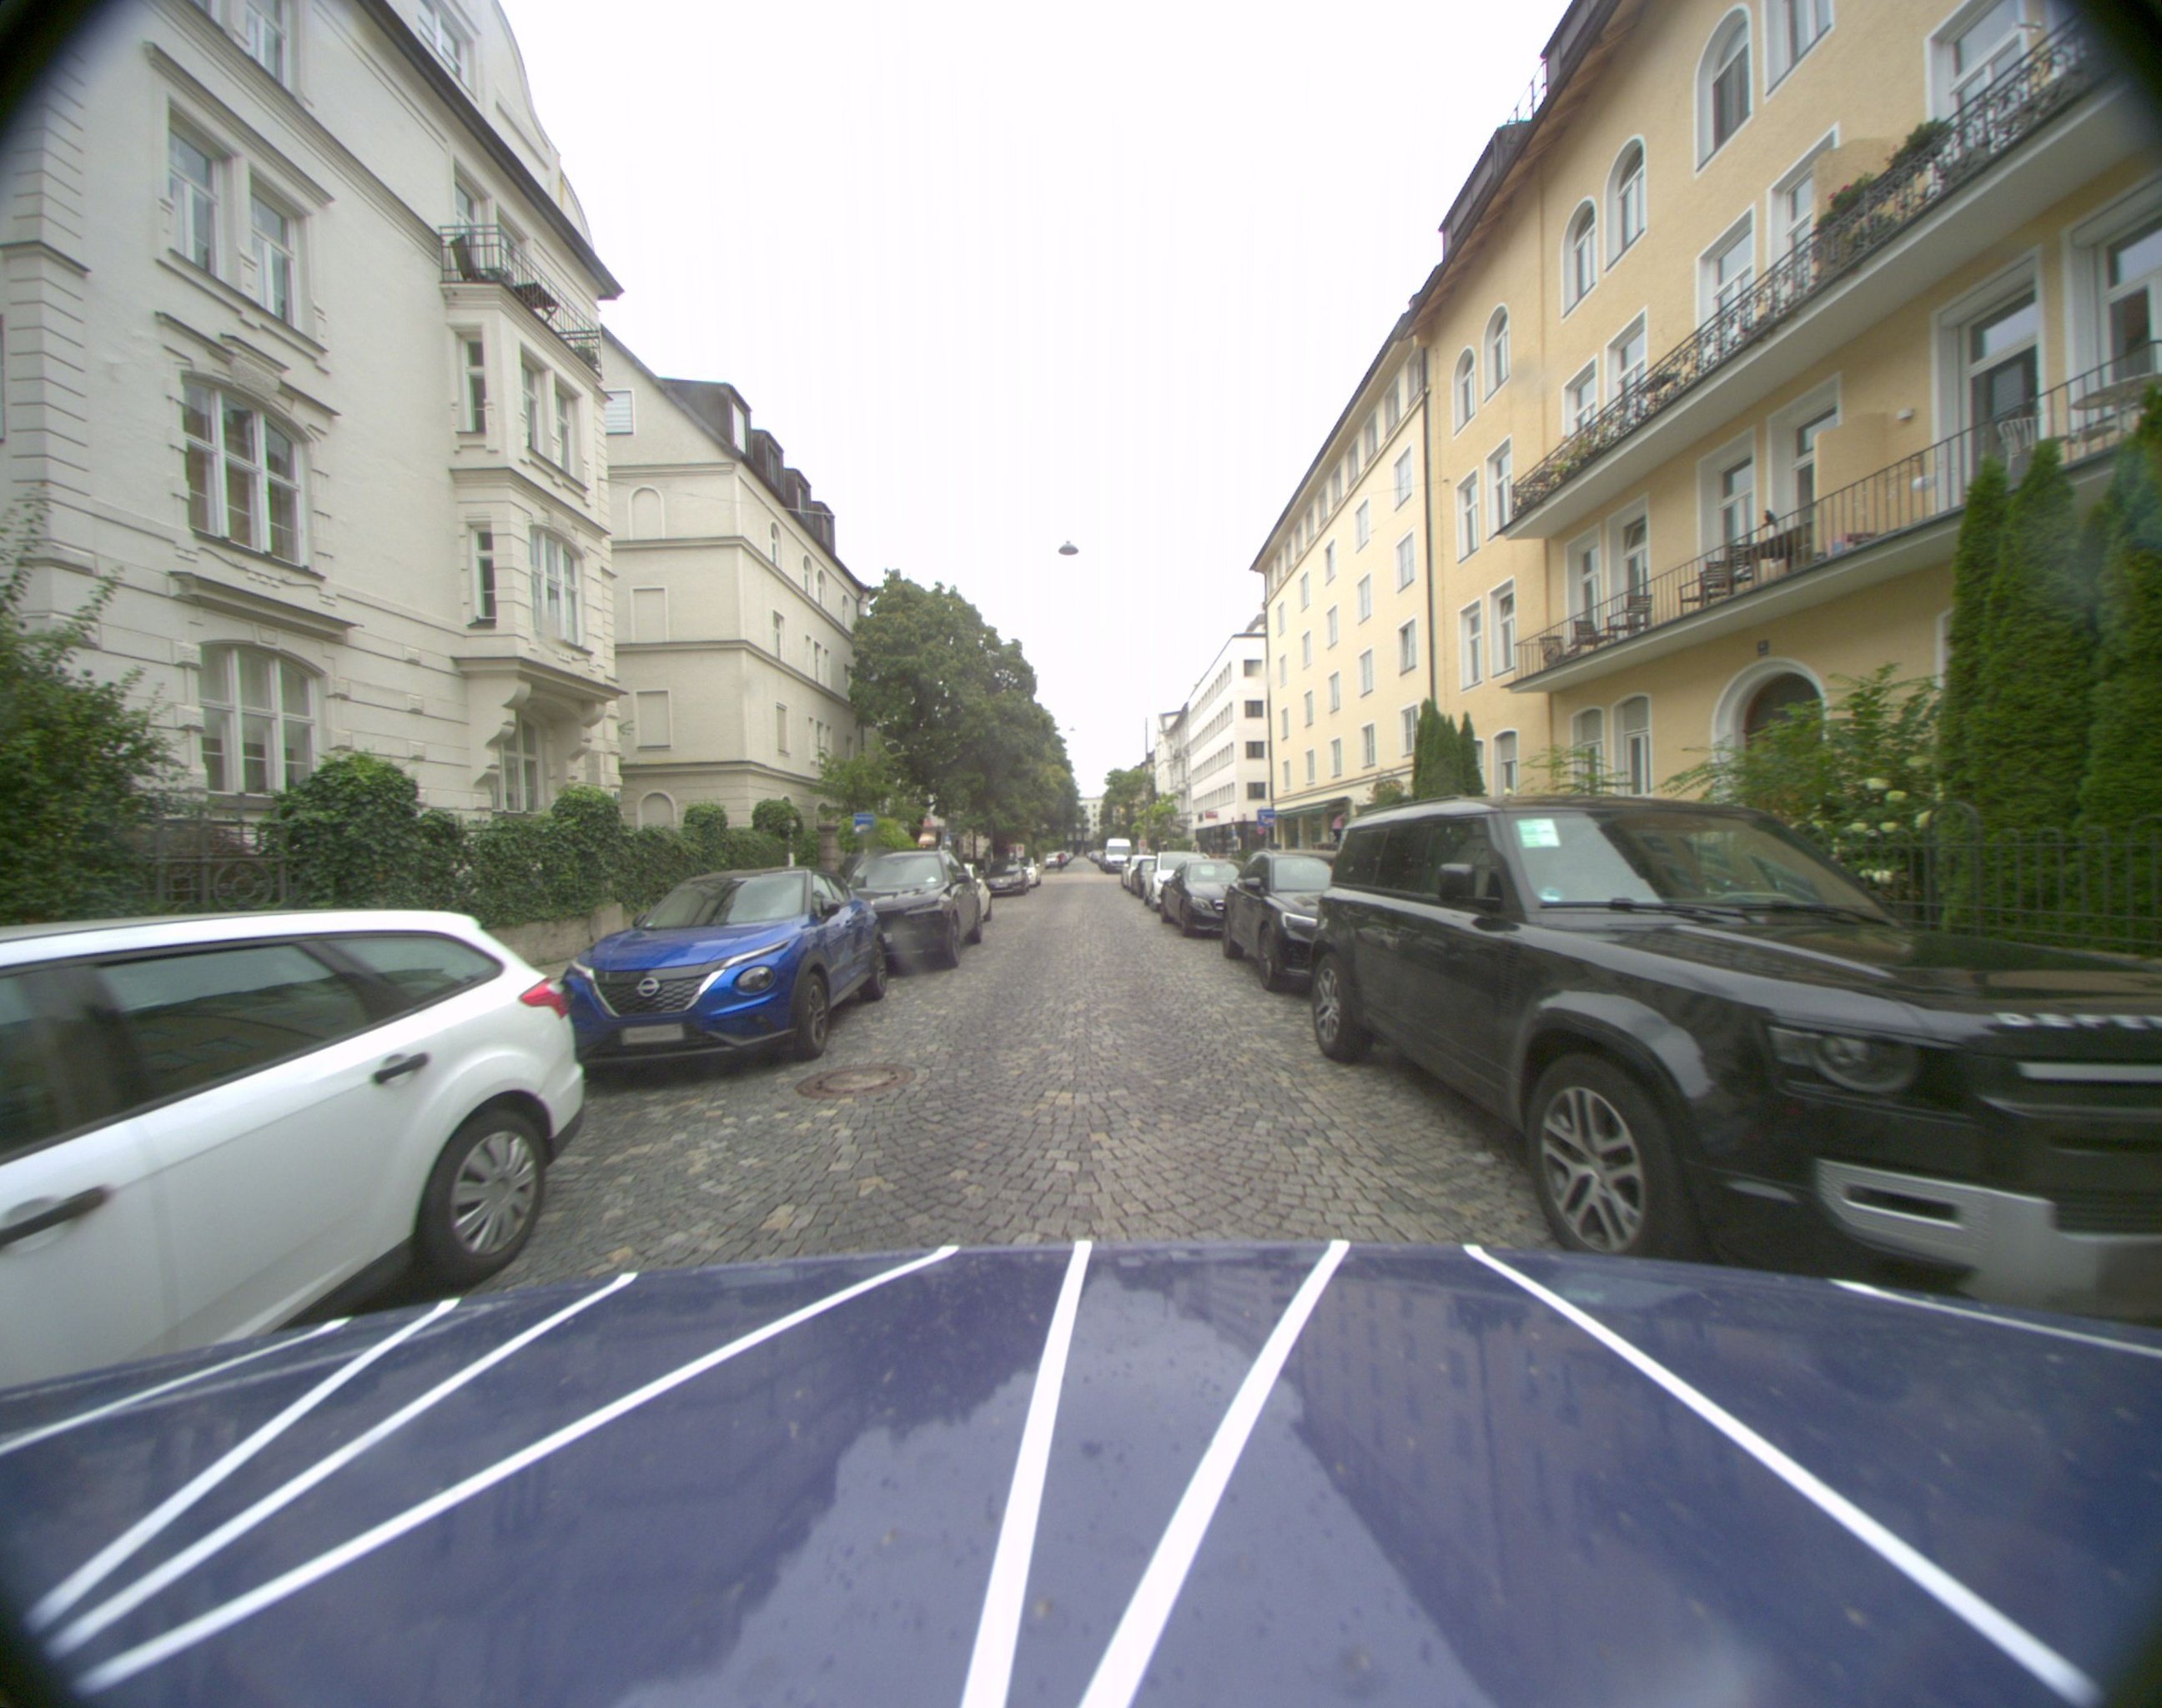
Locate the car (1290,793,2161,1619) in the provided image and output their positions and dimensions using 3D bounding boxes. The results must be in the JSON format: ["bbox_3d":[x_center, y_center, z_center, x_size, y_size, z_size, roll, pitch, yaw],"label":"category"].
[{"bbox_3d":[2.721,0.723,3.950,1.987,1.727,4.722,-2,0,1],"label":"car"}]

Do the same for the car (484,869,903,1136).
[{"bbox_3d":[-2.982,0.995,7.022,1.713,1.473,4.248,-4,1,-2],"label":"car"}]

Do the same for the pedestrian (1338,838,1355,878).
[{"bbox_3d":[11.189,0.157,32.041,0.462,1.680,0.574,-2,1,0],"label":"pedestrian"}]

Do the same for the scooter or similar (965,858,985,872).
[{"bbox_3d":[-8.598,0.890,61.848,1.604,1.166,0.405,-1,2,24],"label":"scooter or similar"}]

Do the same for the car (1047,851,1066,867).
[{"bbox_3d":[-2.756,0.516,87.453,1.925,1.676,4.633,-2,1,1],"label":"car"}]

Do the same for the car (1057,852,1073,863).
[{"bbox_3d":[-2.133,0.405,99.439,1.924,1.290,4.807,-2,0,-3],"label":"car"}]

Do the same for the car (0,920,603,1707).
[{"bbox_3d":[-3.093,1.082,1.410,1.778,1.421,4.389,-2,1,-3],"label":"car"}]

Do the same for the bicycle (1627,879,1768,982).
[{"bbox_3d":[7.001,0.826,8.713,0.353,0.997,1.572,-2,1,1],"label":"bicycle"}]

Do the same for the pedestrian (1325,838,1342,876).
[{"bbox_3d":[11.118,0.140,33.471,0.523,1.633,0.629,-2,1,0],"label":"pedestrian"}]

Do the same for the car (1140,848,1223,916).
[{"bbox_3d":[2.724,0.685,21.464,1.778,1.638,4.390,-2,1,1],"label":"car"}]

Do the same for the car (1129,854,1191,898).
[{"bbox_3d":[2.819,0.751,28.042,1.778,1.351,4.390,-2,1,0],"label":"car"}]

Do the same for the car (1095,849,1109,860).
[{"bbox_3d":[3.083,0.046,111.970,1.886,1.411,4.808,-2,0,-1],"label":"car"}]

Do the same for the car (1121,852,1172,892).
[{"bbox_3d":[2.759,0.727,32.917,1.778,1.527,4.540,-2,1,0],"label":"car"}]

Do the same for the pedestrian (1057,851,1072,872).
[{"bbox_3d":[-1.409,0.627,64.980,1.105,1.768,1.263,-2,1,1],"label":"pedestrian"}]

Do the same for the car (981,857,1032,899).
[{"bbox_3d":[-3.042,0.945,32.011,1.652,1.414,4.631,-5,1,-1],"label":"car"}]

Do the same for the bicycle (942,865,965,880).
[{"bbox_3d":[-9.600,1.386,57.179,1.605,1.063,0.738,0,4,3],"label":"bicycle"}]

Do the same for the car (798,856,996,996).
[{"bbox_3d":[-2.693,0.950,12.607,1.880,1.663,5.490,-2,1,0],"label":"car"}]

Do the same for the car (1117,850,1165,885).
[{"bbox_3d":[2.975,0.622,38.435,1.857,1.577,4.747,-2,1,-1],"label":"car"}]

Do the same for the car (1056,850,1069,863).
[{"bbox_3d":[-2.674,0.320,111.996,1.819,1.809,4.808,-2,1,-1],"label":"car"}]

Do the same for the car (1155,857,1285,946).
[{"bbox_3d":[2.631,0.834,15.364,1.778,1.421,4.390,-2,1,0],"label":"car"}]

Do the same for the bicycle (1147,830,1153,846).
[{"bbox_3d":[5.125,-1.180,56.488,0.256,1.120,1.806,-2,1,-1],"label":"bicycle"}]

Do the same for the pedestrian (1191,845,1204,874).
[{"bbox_3d":[7.532,0.329,49.228,0.615,1.830,0.813,-2,1,-6],"label":"pedestrian"}]

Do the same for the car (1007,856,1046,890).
[{"bbox_3d":[-2.714,0.928,38.341,1.505,1.462,3.795,-4,1,1],"label":"car"}]

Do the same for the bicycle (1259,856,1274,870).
[{"bbox_3d":[12.785,0.605,52.464,0.398,0.963,1.893,-2,1,-6],"label":"bicycle"}]

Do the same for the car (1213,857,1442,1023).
[{"bbox_3d":[2.798,0.865,9.575,1.583,1.581,4.055,0,1,0],"label":"car"}]

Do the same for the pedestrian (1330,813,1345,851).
[{"bbox_3d":[11.060,-0.949,32.740,0.478,1.633,0.497,-2,1,4],"label":"pedestrian"}]

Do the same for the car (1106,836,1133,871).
[{"bbox_3d":[2.930,-0.049,58.247,1.982,2.559,5.794,0,1,2],"label":"car"}]

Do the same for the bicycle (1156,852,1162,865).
[{"bbox_3d":[7.488,0.402,73.102,0.361,1.168,1.911,-2,1,2],"label":"bicycle"}]

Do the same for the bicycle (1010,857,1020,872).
[{"bbox_3d":[-5.220,0.836,60.044,0.389,1.140,1.590,-2,1,7],"label":"bicycle"}]

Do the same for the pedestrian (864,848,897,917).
[{"bbox_3d":[-5.501,0.779,20.915,0.577,1.839,0.682,-2,1,8],"label":"pedestrian"}]

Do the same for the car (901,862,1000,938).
[{"bbox_3d":[-3.018,1.010,18.221,1.634,1.461,3.658,-4,1,0],"label":"car"}]
